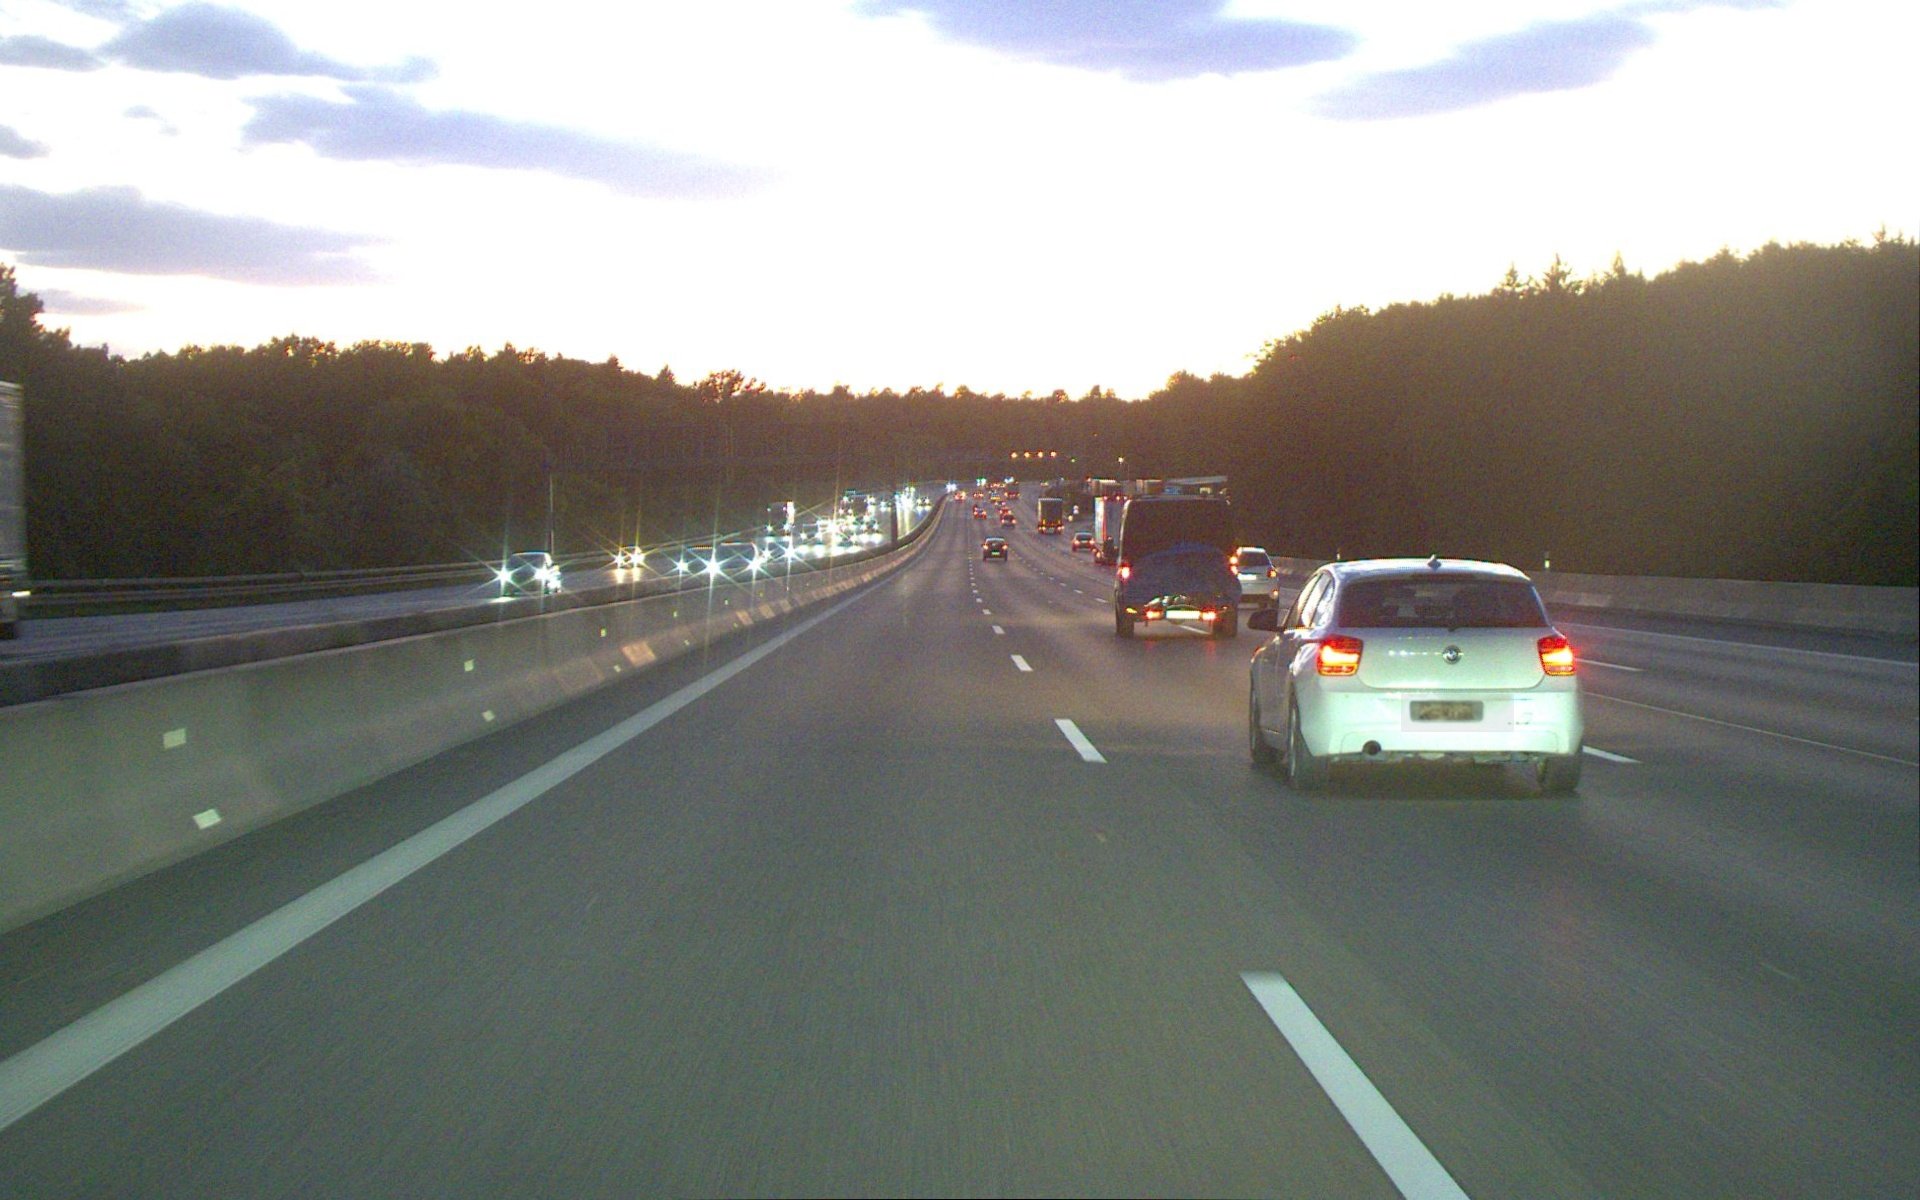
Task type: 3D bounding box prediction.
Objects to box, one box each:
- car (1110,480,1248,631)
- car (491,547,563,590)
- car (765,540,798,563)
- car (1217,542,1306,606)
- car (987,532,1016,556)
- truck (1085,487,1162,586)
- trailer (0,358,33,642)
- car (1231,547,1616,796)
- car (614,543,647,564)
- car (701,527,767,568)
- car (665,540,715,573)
[{"bbox_3d":[3.647,-0.763,58.079,2.166,2.410,5.564,0,1,2],"label":"car"},{"bbox_3d":[-15.069,-1.113,119.770,1.912,1.420,4.747,0,1,0],"label":"car"},{"bbox_3d":[-11.157,-3.029,214.626,1.836,1.433,4.000,0,1,0],"label":"car"},{"bbox_3d":[7.431,-0.653,85.052,2.008,1.533,4.000,0,1,2],"label":"car"},{"bbox_3d":[2.786,-3.769,230.629,1.836,1.565,4.000,0,1,2],"label":"car"},{"bbox_3d":[9.976,-3.896,211.029,4.149,5.836,14.297,0,1,1],"label":"truck"},{"bbox_3d":[-15.127,-1.356,44.663,2.649,4.117,14.328,0,1,-1],"label":"trailer"},{"bbox_3d":[2.864,0.403,22.016,1.859,1.437,3.720,1,0,-1],"label":"car"},{"bbox_3d":[-22.440,-3.167,234.288,1.836,1.433,4.000,0,1,0],"label":"car"},{"bbox_3d":[-8.137,-1.908,124.167,1.993,1.420,5.145,0,1,0],"label":"car"},{"bbox_3d":[-11.960,-1.930,152.434,1.848,1.409,4.791,0,1,0],"label":"car"}]
